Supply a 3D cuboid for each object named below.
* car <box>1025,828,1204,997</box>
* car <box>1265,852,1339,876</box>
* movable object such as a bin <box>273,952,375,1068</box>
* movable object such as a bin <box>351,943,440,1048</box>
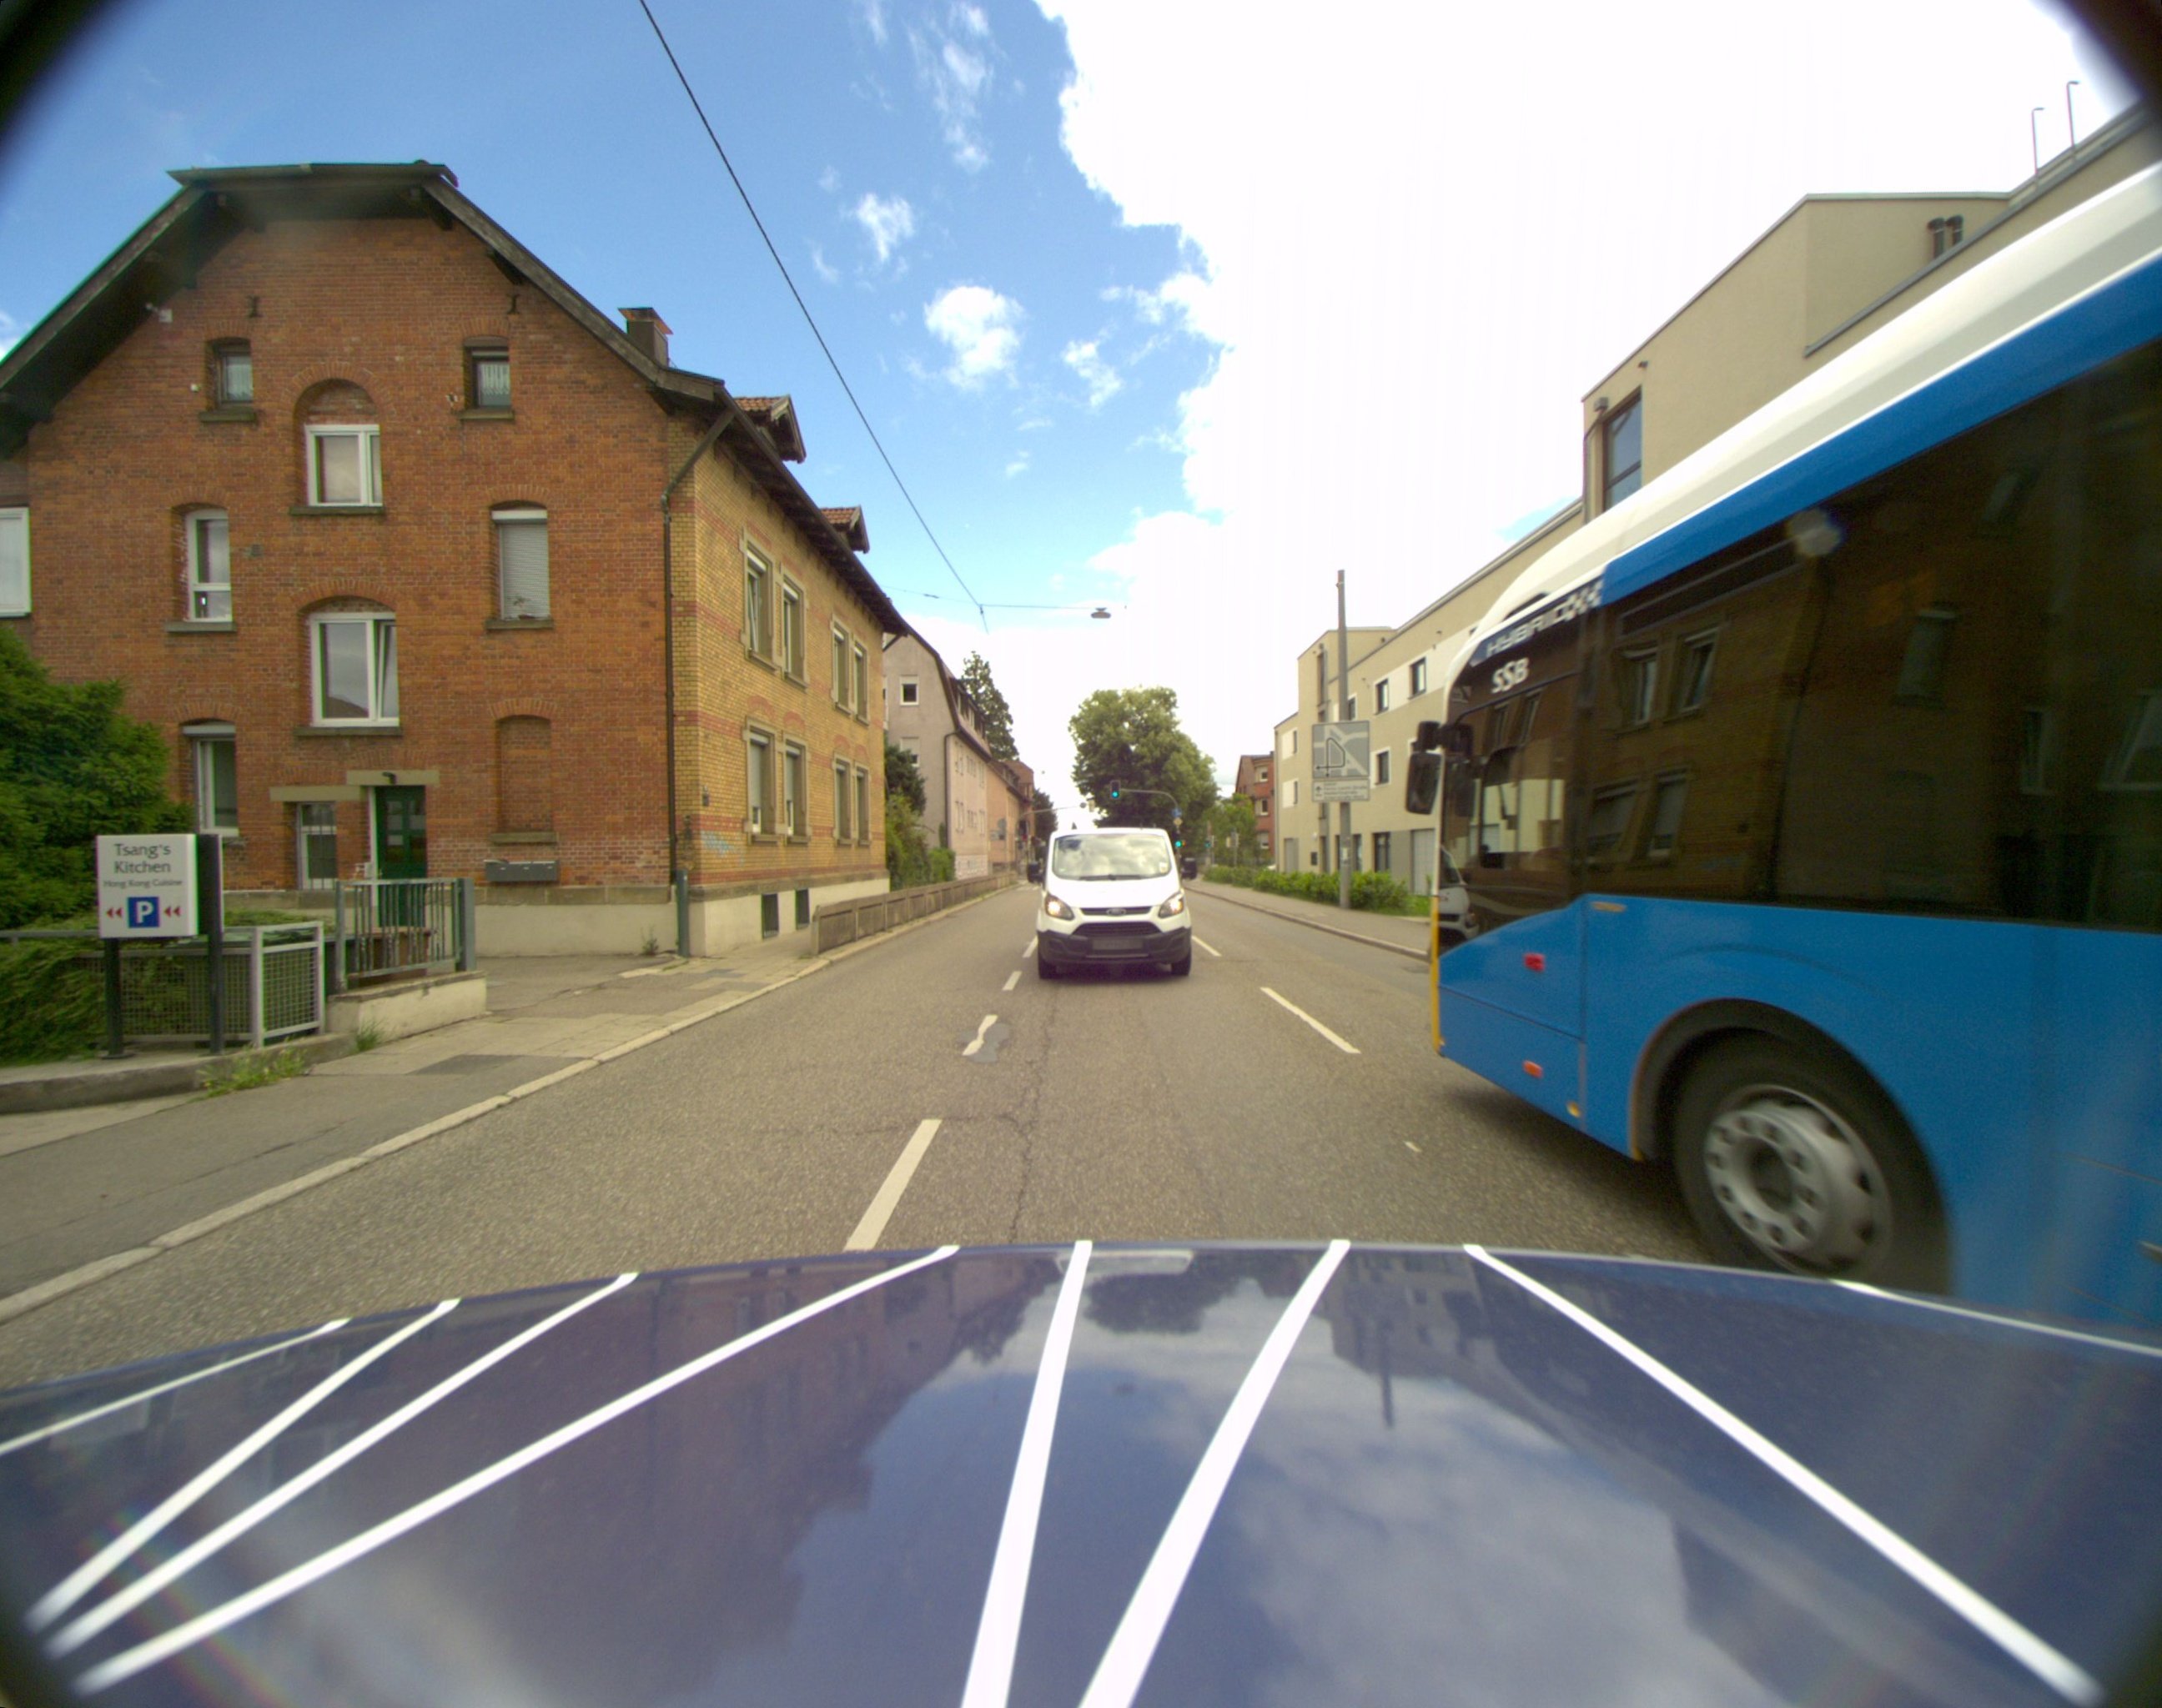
[{"bbox_3d":[0.389,0.679,11.385,2.062,1.945,5.060,-1,0,0],"label":"car"},{"bbox_3d":[16.438,0.740,56.590,4.813,1.675,2.175,-1,0,-4],"label":"car"},{"bbox_3d":[-6.483,1.323,6.523,0.398,0.898,0.456,-1,1,1],"label":"movable object such as a bin"},{"bbox_3d":[-6.424,1.313,7.131,0.398,0.898,0.456,-1,1,1],"label":"movable object such as a bin"}]
